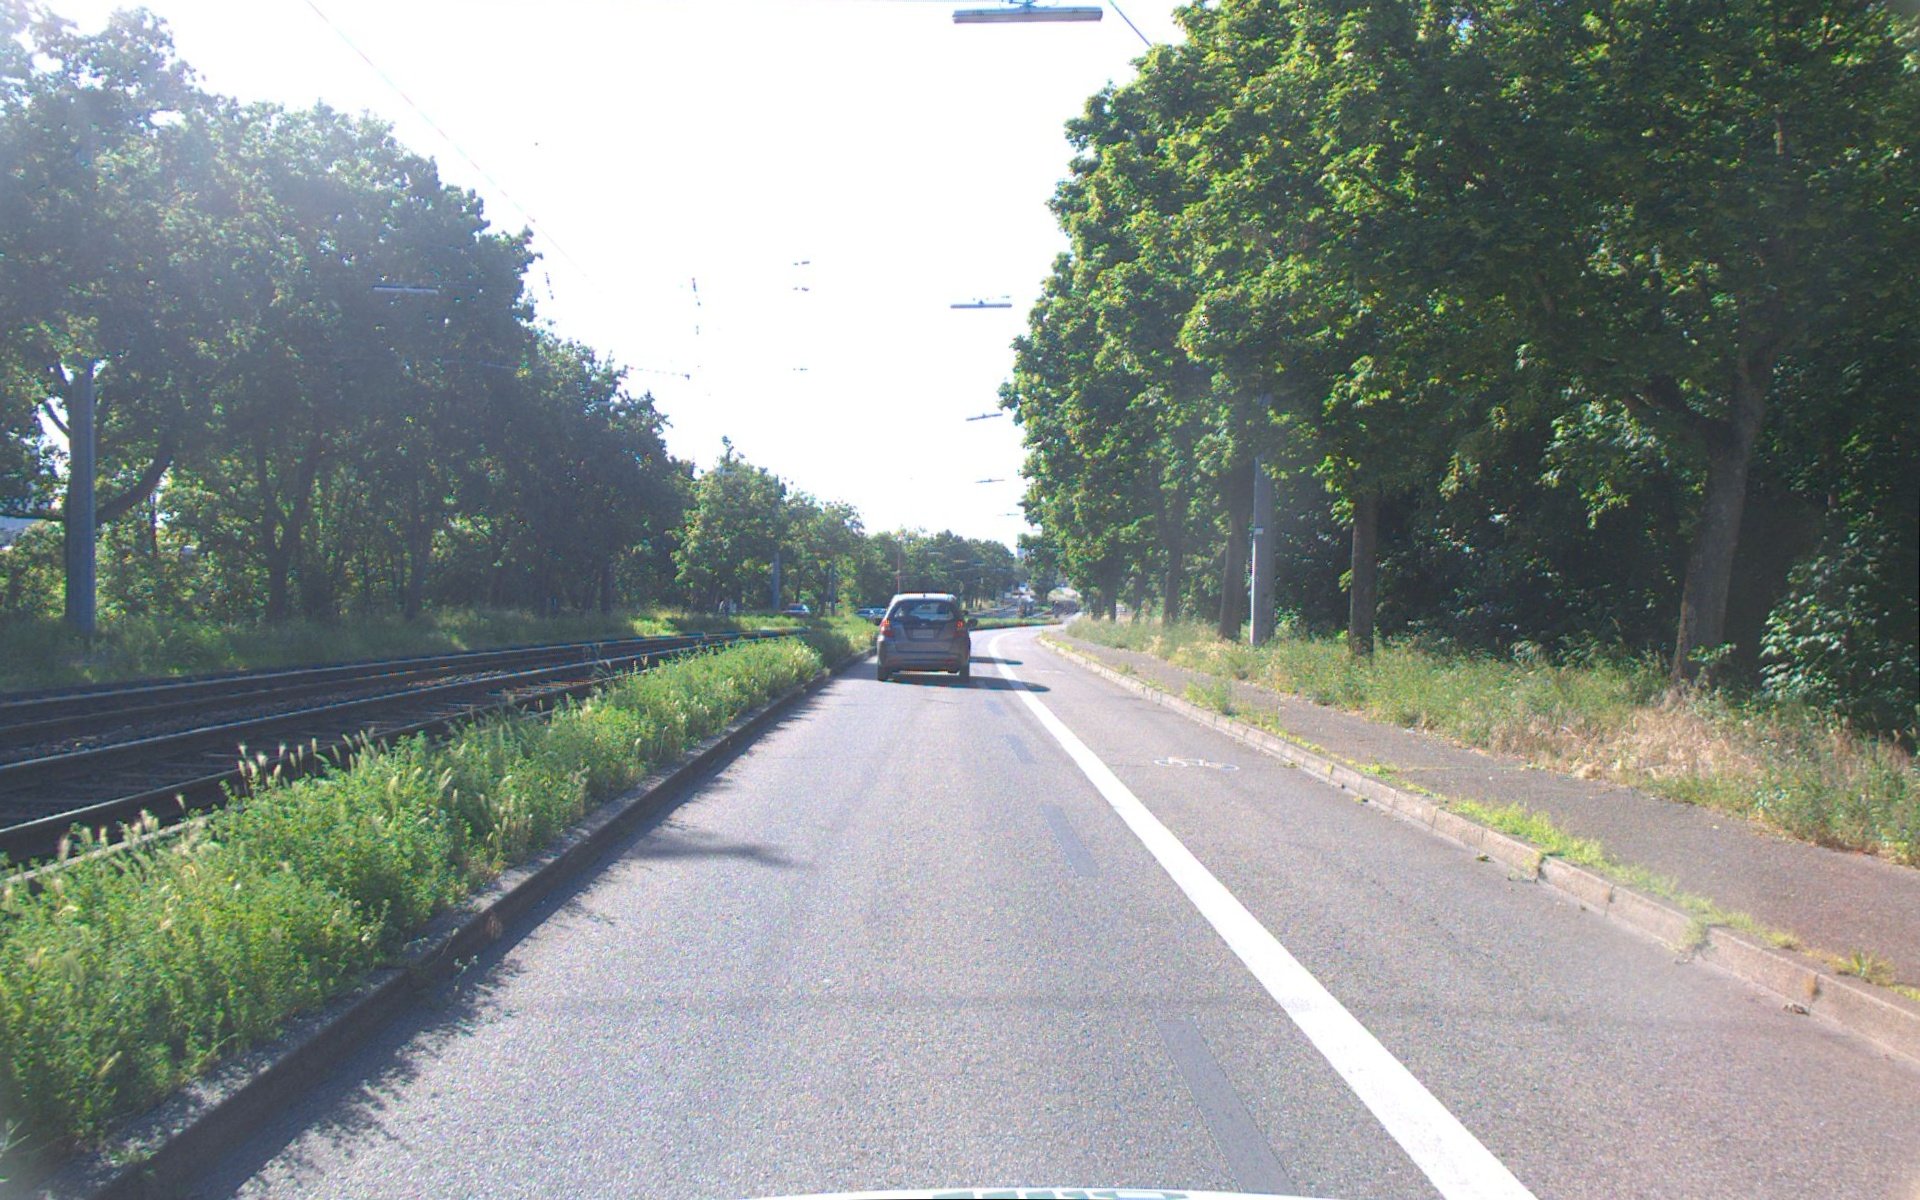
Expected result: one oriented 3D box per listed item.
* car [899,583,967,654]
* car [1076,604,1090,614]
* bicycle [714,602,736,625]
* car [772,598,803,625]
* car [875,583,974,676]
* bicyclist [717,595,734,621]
[{"bbox_3d":[-0.668,0.437,42.308,1.621,1.533,3.811,2,2,-1],"label":"car"},{"bbox_3d":[19.008,1.386,255.526,1.619,1.336,3.815,3,3,11],"label":"car"},{"bbox_3d":[-14.601,0.836,102.802,0.772,1.216,3.170,2,2,2],"label":"bicycle"},{"bbox_3d":[-14.099,0.937,135.398,1.952,1.908,4.002,2,2,2],"label":"car"},{"bbox_3d":[-0.623,0.501,30.290,1.636,1.534,3.810,2,0,-1],"label":"car"},{"bbox_3d":[-14.585,0.489,102.919,0.773,1.515,1.109,2,2,2],"label":"bicyclist"}]
